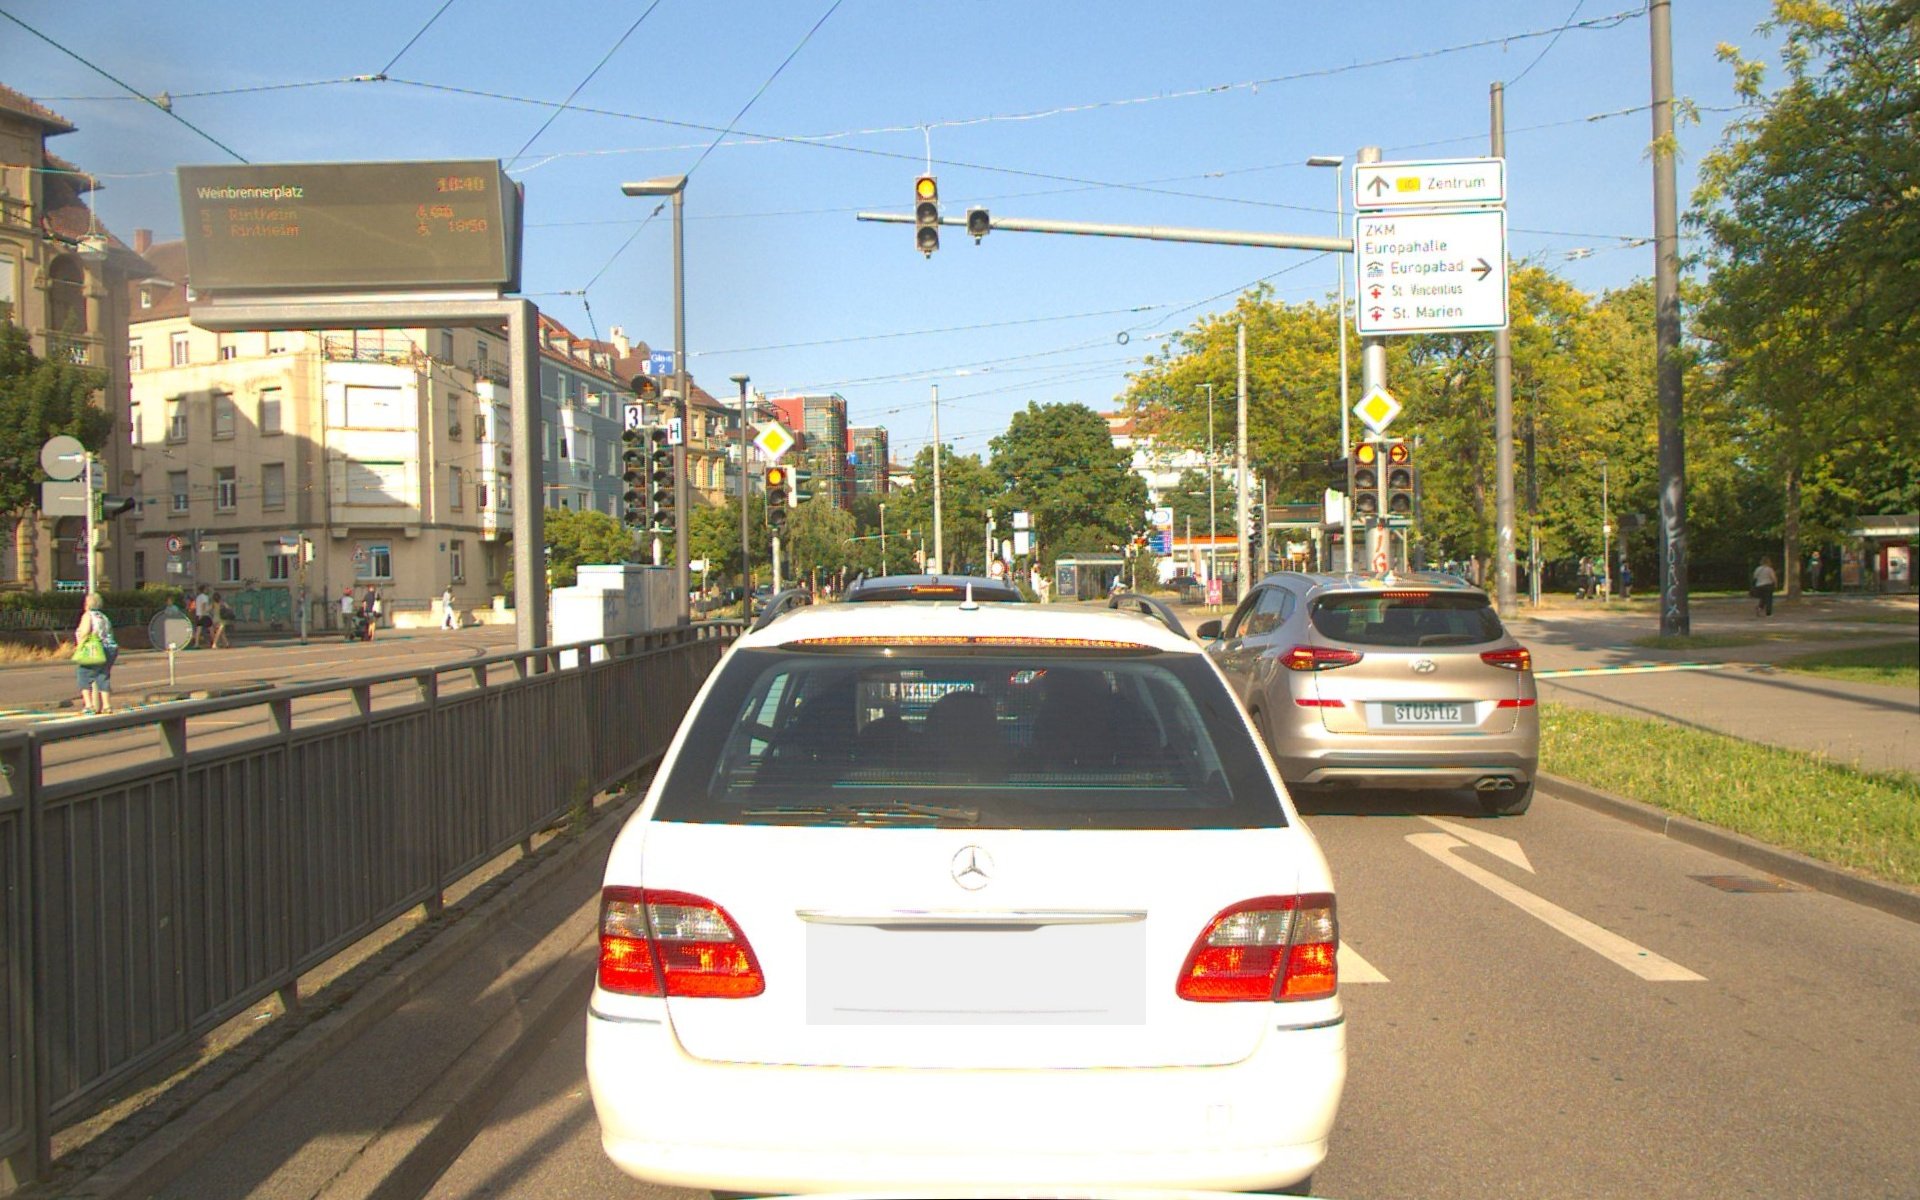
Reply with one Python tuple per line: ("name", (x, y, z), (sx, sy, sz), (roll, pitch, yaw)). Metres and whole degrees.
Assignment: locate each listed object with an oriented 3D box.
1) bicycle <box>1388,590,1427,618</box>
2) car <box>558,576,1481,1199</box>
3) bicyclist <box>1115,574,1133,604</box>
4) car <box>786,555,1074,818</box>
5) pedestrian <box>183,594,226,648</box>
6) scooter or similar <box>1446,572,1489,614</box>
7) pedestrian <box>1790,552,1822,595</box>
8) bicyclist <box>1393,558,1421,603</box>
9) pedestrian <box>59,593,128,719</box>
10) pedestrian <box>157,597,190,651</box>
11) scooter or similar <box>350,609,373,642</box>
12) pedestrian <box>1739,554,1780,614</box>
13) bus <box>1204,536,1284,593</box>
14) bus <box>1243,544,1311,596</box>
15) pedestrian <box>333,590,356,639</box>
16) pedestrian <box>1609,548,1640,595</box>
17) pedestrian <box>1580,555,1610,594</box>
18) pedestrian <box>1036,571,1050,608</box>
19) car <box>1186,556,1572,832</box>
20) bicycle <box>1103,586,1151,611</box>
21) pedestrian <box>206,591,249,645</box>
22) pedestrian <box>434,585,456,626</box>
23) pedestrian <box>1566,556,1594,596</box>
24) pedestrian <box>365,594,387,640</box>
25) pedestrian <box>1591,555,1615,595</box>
("bicycle", (12.922, 0.110, 47.756), (0.485, 0.770, 2.168), (-2, 0, -1))
("car", (0.084, 0.691, 4.979), (1.759, 1.496, 3.647), (0, 0, -1))
("bicyclist", (8.513, -0.572, 85.951), (0.842, 1.507, 0.790), (-1, 0, 8))
("car", (-0.212, 0.551, 12.577), (1.846, 1.680, 3.647), (1, 0, -1))
("pedestrian", (-22.594, 0.619, 49.482), (0.812, 1.579, 0.782), (-1, 0, 21))
("scooter or similar", (14.020, -0.204, 45.722), (0.413, 1.136, 1.322), (-1, 0, -20))
("pedestrian", (33.241, -1.027, 64.996), (0.818, 1.665, 0.803), (-1, 0, 5))
("bicyclist", (12.889, -0.564, 47.732), (0.523, 1.284, 0.869), (-1, 0, -1))
("pedestrian", (-11.521, 0.733, 22.006), (0.601, 1.627, 0.632), (-1, 0, -7))
("pedestrian", (-23.479, 0.717, 49.383), (0.616, 1.568, 0.711), (-1, 0, -1))
("scooter or similar", (-20.545, 0.867, 56.759), (0.532, 1.098, 0.683), (1, 0, -1))
("pedestrian", (22.528, -0.462, 46.595), (0.748, 1.665, 0.797), (-1, 0, -40))
("bus", (19.974, -2.394, 115.626), (3.045, 3.669, 12.374), (1, 0, 21))
("bus", (24.488, -2.250, 127.329), (3.044, 3.669, 12.592), (1, 0, 20))
("pedestrian", (-20.809, 0.491, 55.933), (0.497, 1.654, 0.608), (-1, 0, 0))
("pedestrian", (25.875, -1.113, 64.423), (0.784, 1.816, 0.838), (-1, 0, -5))
("pedestrian", (24.857, -0.983, 64.763), (0.799, 1.513, 0.699), (-1, 0, -12))
("pedestrian", (4.294, -0.547, 85.462), (0.628, 1.889, 0.552), (-1, 0, 11))
("car", (2.883, 0.573, 12.199), (1.846, 1.680, 3.647), (-2, 0, -1))
("bicycle", (8.666, -0.085, 85.928), (2.430, 1.234, 0.807), (-1, 0, 7))
("pedestrian", (-21.799, 0.536, 49.236), (0.812, 1.579, 0.782), (-1, 0, 21))
("pedestrian", (-21.616, 0.229, 69.408), (0.606, 1.689, 0.586), (-1, 0, 14))
("pedestrian", (24.049, -0.918, 64.143), (0.809, 1.513, 0.690), (-2, 0, -42))
("pedestrian", (-19.848, 0.573, 56.209), (0.428, 1.527, 0.549), (-1, 0, 14))
("pedestrian", (24.597, -0.964, 63.248), (0.797, 1.513, 0.700), (-1, 0, 24))
